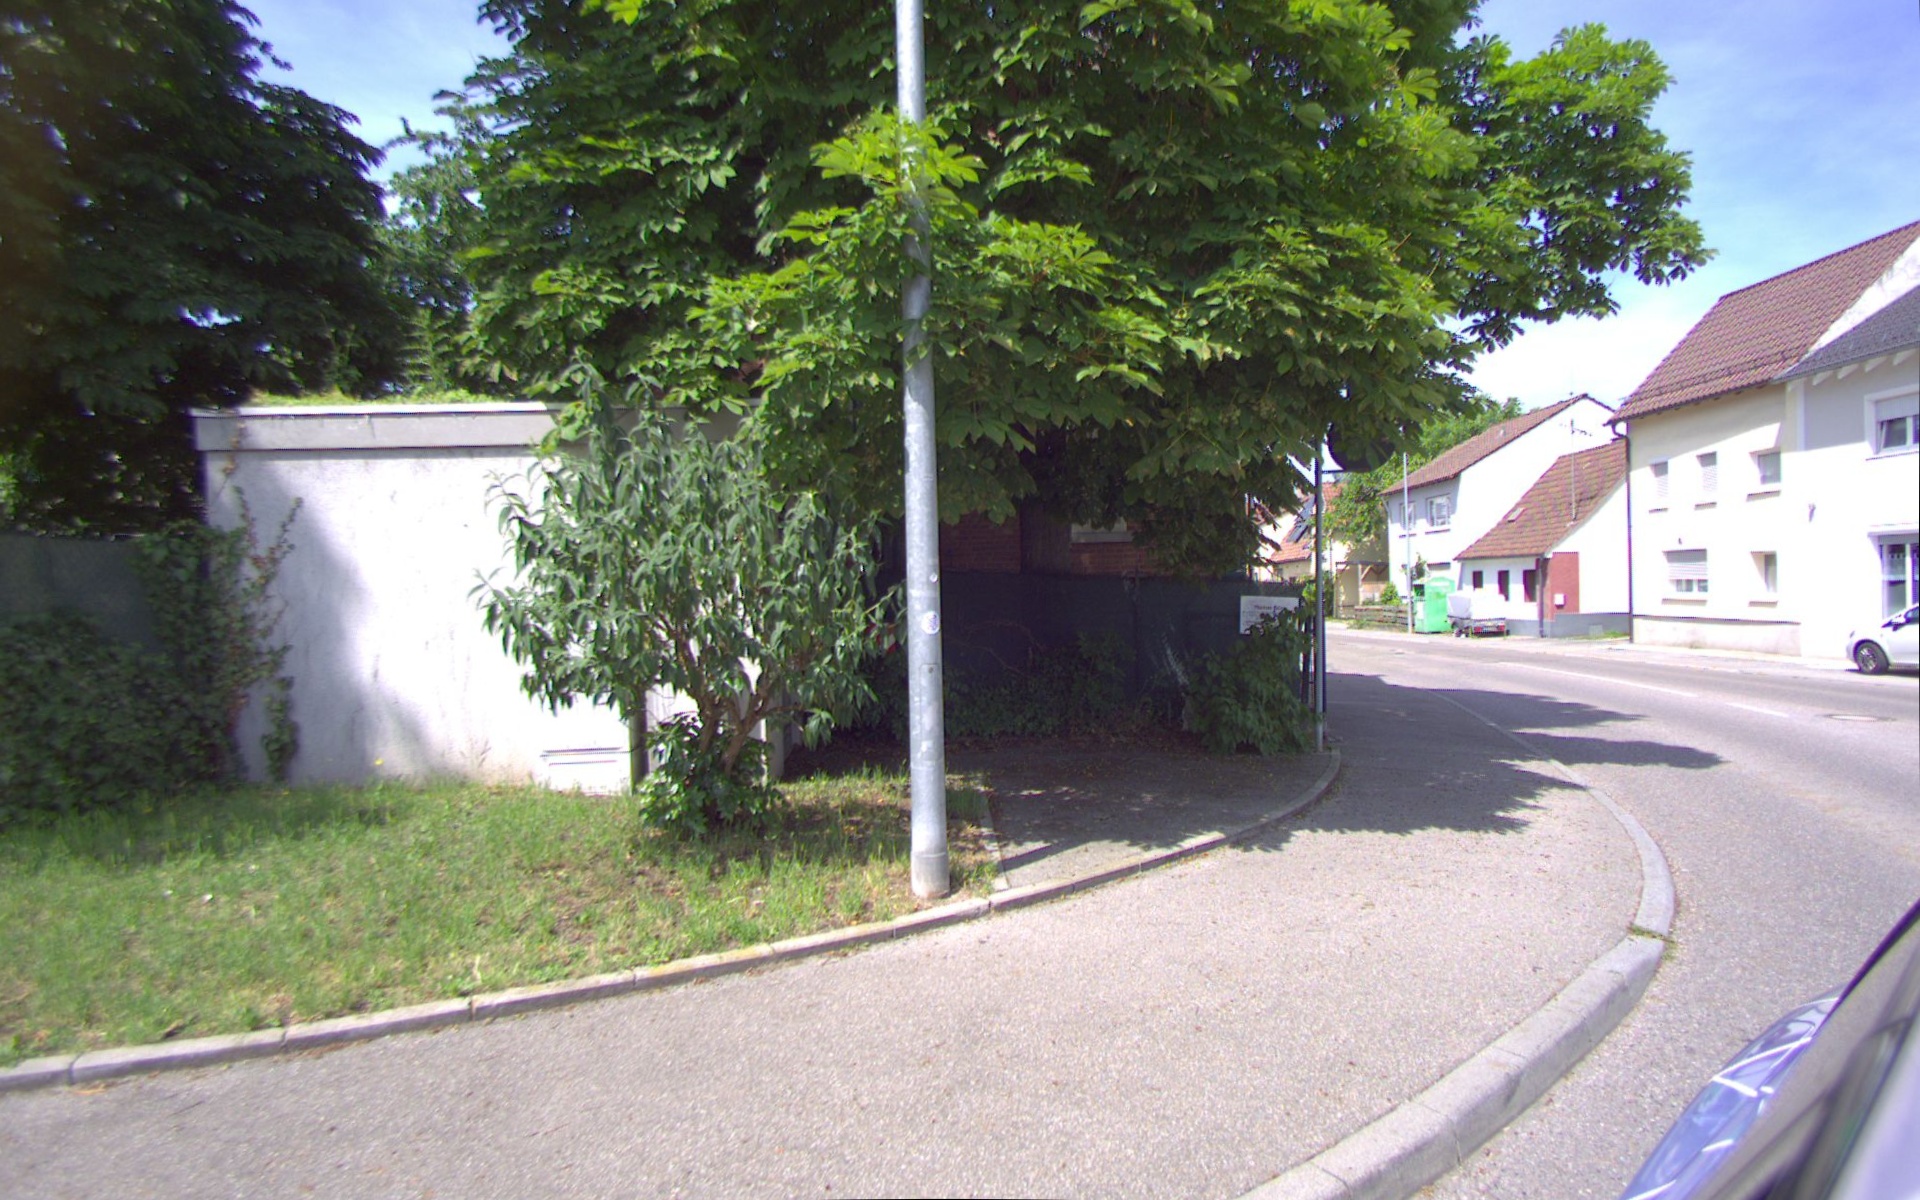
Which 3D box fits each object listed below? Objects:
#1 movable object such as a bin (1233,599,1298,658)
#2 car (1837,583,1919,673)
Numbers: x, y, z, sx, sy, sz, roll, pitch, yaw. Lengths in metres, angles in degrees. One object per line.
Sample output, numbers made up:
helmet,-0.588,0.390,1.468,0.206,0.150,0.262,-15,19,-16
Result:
movable object such as a bin,8.158,0.741,27.122,1.330,1.540,1.291,0,0,0
car,17.624,0.463,17.258,1.792,1.521,3.999,-3,0,0
